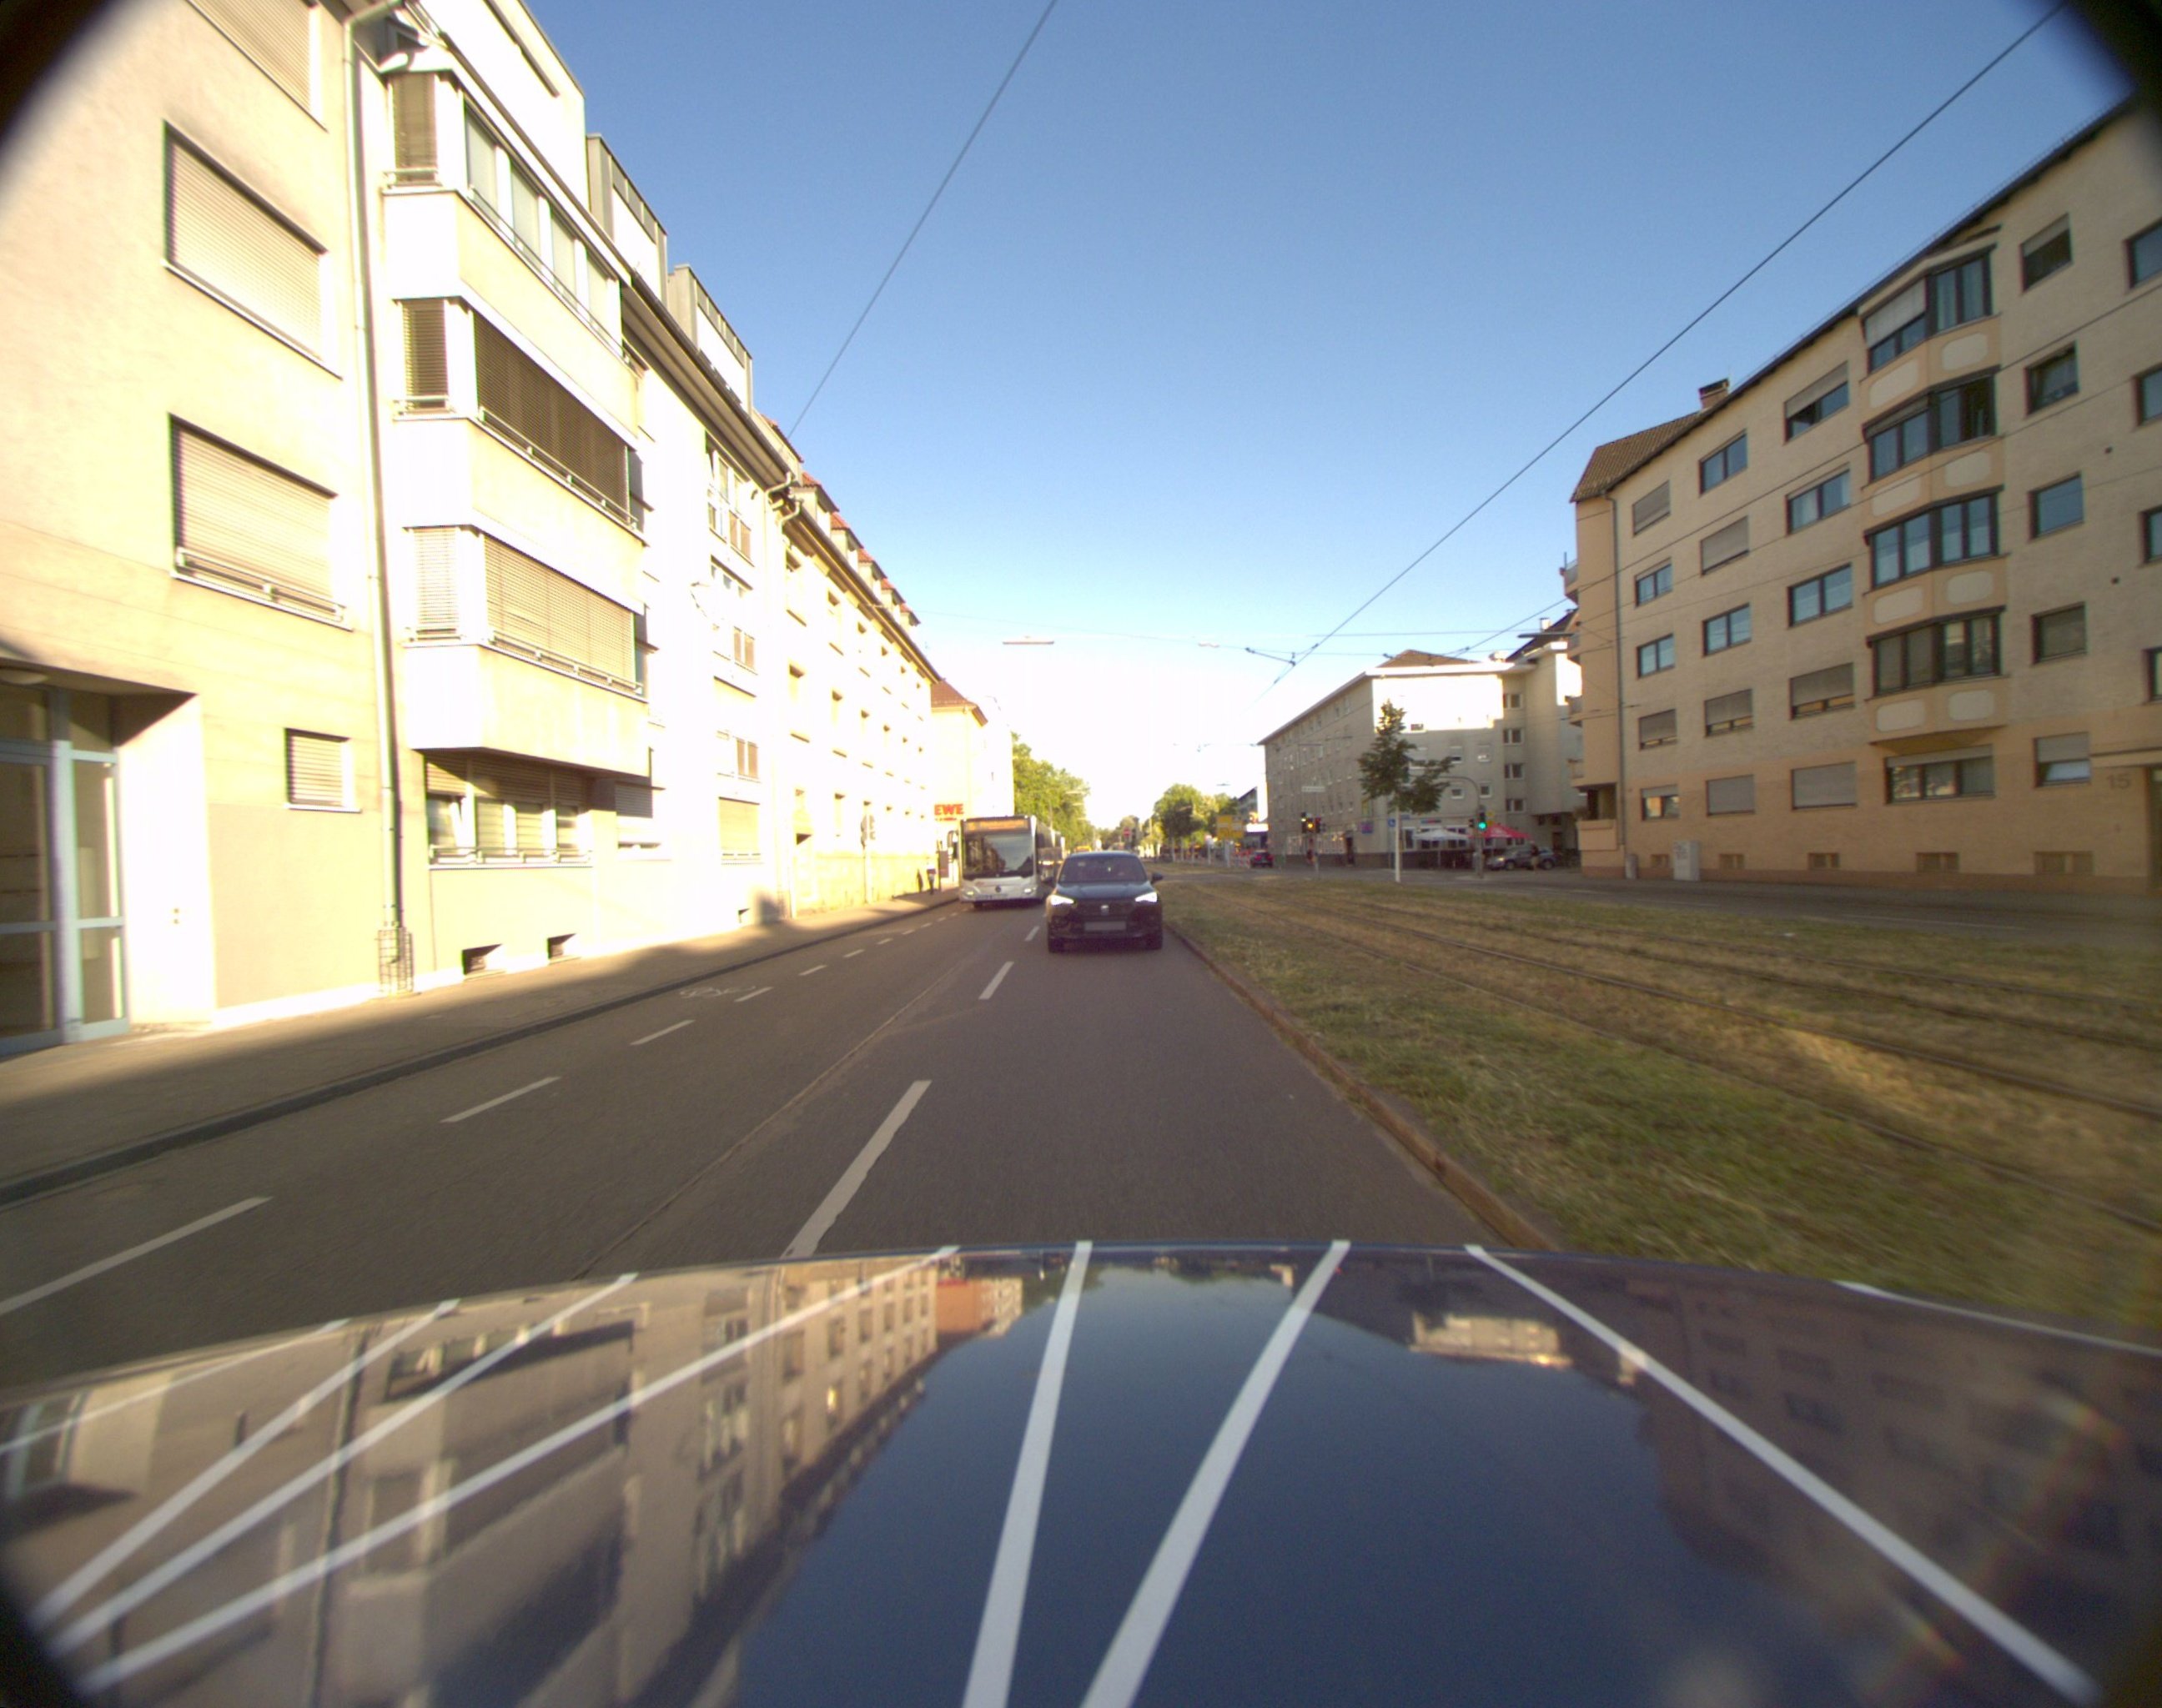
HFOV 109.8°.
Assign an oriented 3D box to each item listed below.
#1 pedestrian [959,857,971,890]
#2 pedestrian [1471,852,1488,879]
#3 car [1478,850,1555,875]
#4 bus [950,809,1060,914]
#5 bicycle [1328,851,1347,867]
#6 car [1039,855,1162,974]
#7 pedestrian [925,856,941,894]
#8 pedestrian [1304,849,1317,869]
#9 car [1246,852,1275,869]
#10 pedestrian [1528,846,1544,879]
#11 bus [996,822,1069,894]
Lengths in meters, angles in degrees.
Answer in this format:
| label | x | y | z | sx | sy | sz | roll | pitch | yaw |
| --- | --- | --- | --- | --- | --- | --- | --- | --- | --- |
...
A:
| label | x | y | z | sx | sy | sz | roll | pitch | yaw |
| --- | --- | --- | --- | --- | --- | --- | --- | --- | --- |
| pedestrian | -6.094 | 1.035 | 39.822 | 0.527 | 1.721 | 0.445 | 1 | -1 | -1 |
| pedestrian | 22.612 | 0.657 | 43.090 | 0.624 | 1.482 | 0.582 | -2 | 1 | 0 |
| car | 28.923 | 0.557 | 50.523 | 3.998 | 1.499 | 1.999 | -2 | 1 | -3 |
| bus | -2.460 | 0.214 | 28.536 | 2.731 | 3.059 | 10.600 | -3 | 0 | 1 |
| bicycle | 22.578 | 0.415 | 67.040 | 0.579 | 1.370 | 3.236 | -1 | 0 | 0 |
| car | 0.398 | 0.911 | 13.461 | 1.787 | 1.615 | 4.216 | -2 | 2 | 3 |
| pedestrian | -6.838 | 0.953 | 35.097 | 0.648 | 1.721 | 0.558 | 0 | 1 | 1 |
| pedestrian | 20.298 | 0.467 | 67.195 | 0.742 | 1.731 | 1.226 | -2 | 1 | 1 |
| car | 17.710 | 0.621 | 75.171 | 1.922 | 1.581 | 4.469 | -2 | 0 | 1 |
| pedestrian | 24.545 | 0.462 | 40.963 | 0.634 | 1.760 | 0.826 | -2 | 1 | 26 |
| bus | -2.247 | 0.152 | 39.163 | 2.712 | 3.059 | 10.600 | -3 | 0 | 1 |
